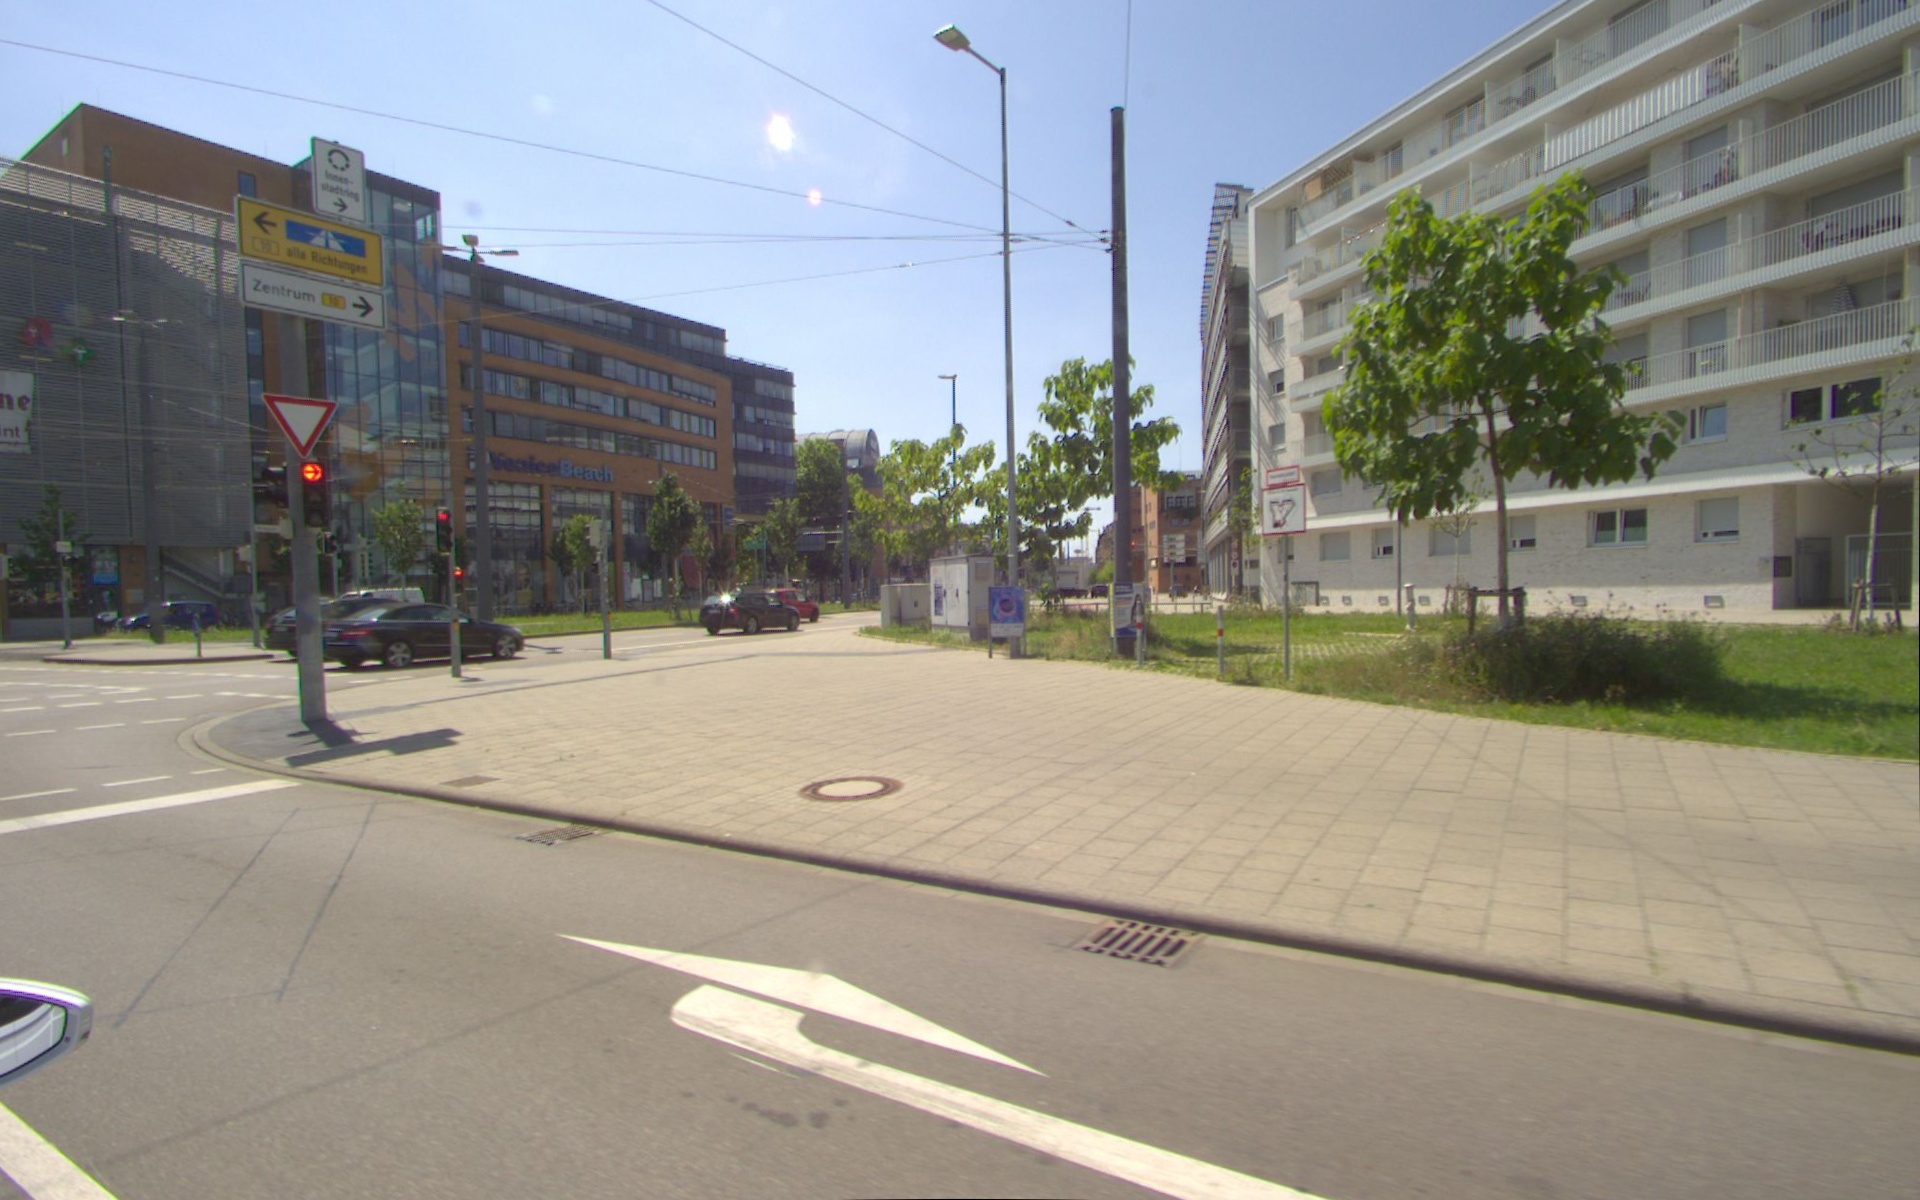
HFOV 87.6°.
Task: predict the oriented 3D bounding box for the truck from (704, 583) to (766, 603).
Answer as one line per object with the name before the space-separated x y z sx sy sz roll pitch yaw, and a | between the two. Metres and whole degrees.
truck | -33.459 -1.015 148.907 9.067 2.846 1.998 0 1 13

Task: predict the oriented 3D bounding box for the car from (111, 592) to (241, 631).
car | -33.352 0.467 42.684 1.853 1.559 3.980 0 0 31

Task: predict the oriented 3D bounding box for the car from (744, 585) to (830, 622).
car | -7.509 0.140 43.863 1.811 1.528 4.128 0 0 22

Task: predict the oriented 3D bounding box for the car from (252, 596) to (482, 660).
car | -14.907 0.647 25.477 1.860 1.480 4.757 0 0 30

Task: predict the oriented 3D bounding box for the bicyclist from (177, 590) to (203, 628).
bicyclist | -41.446 0.486 53.889 0.738 2.040 0.909 1 1 35

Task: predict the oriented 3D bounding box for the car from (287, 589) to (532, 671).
car | -12.414 0.594 22.926 1.969 1.598 4.542 0 2 28

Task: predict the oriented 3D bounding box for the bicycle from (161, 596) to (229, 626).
bicycle | -41.303 0.593 54.120 0.695 1.578 2.840 1 1 36

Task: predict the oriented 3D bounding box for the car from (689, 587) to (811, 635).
car | -7.327 0.329 35.392 1.813 1.528 4.522 0 1 26

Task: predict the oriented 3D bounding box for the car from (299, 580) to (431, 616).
car | -29.514 -0.090 49.914 1.969 1.690 5.458 0 0 28
